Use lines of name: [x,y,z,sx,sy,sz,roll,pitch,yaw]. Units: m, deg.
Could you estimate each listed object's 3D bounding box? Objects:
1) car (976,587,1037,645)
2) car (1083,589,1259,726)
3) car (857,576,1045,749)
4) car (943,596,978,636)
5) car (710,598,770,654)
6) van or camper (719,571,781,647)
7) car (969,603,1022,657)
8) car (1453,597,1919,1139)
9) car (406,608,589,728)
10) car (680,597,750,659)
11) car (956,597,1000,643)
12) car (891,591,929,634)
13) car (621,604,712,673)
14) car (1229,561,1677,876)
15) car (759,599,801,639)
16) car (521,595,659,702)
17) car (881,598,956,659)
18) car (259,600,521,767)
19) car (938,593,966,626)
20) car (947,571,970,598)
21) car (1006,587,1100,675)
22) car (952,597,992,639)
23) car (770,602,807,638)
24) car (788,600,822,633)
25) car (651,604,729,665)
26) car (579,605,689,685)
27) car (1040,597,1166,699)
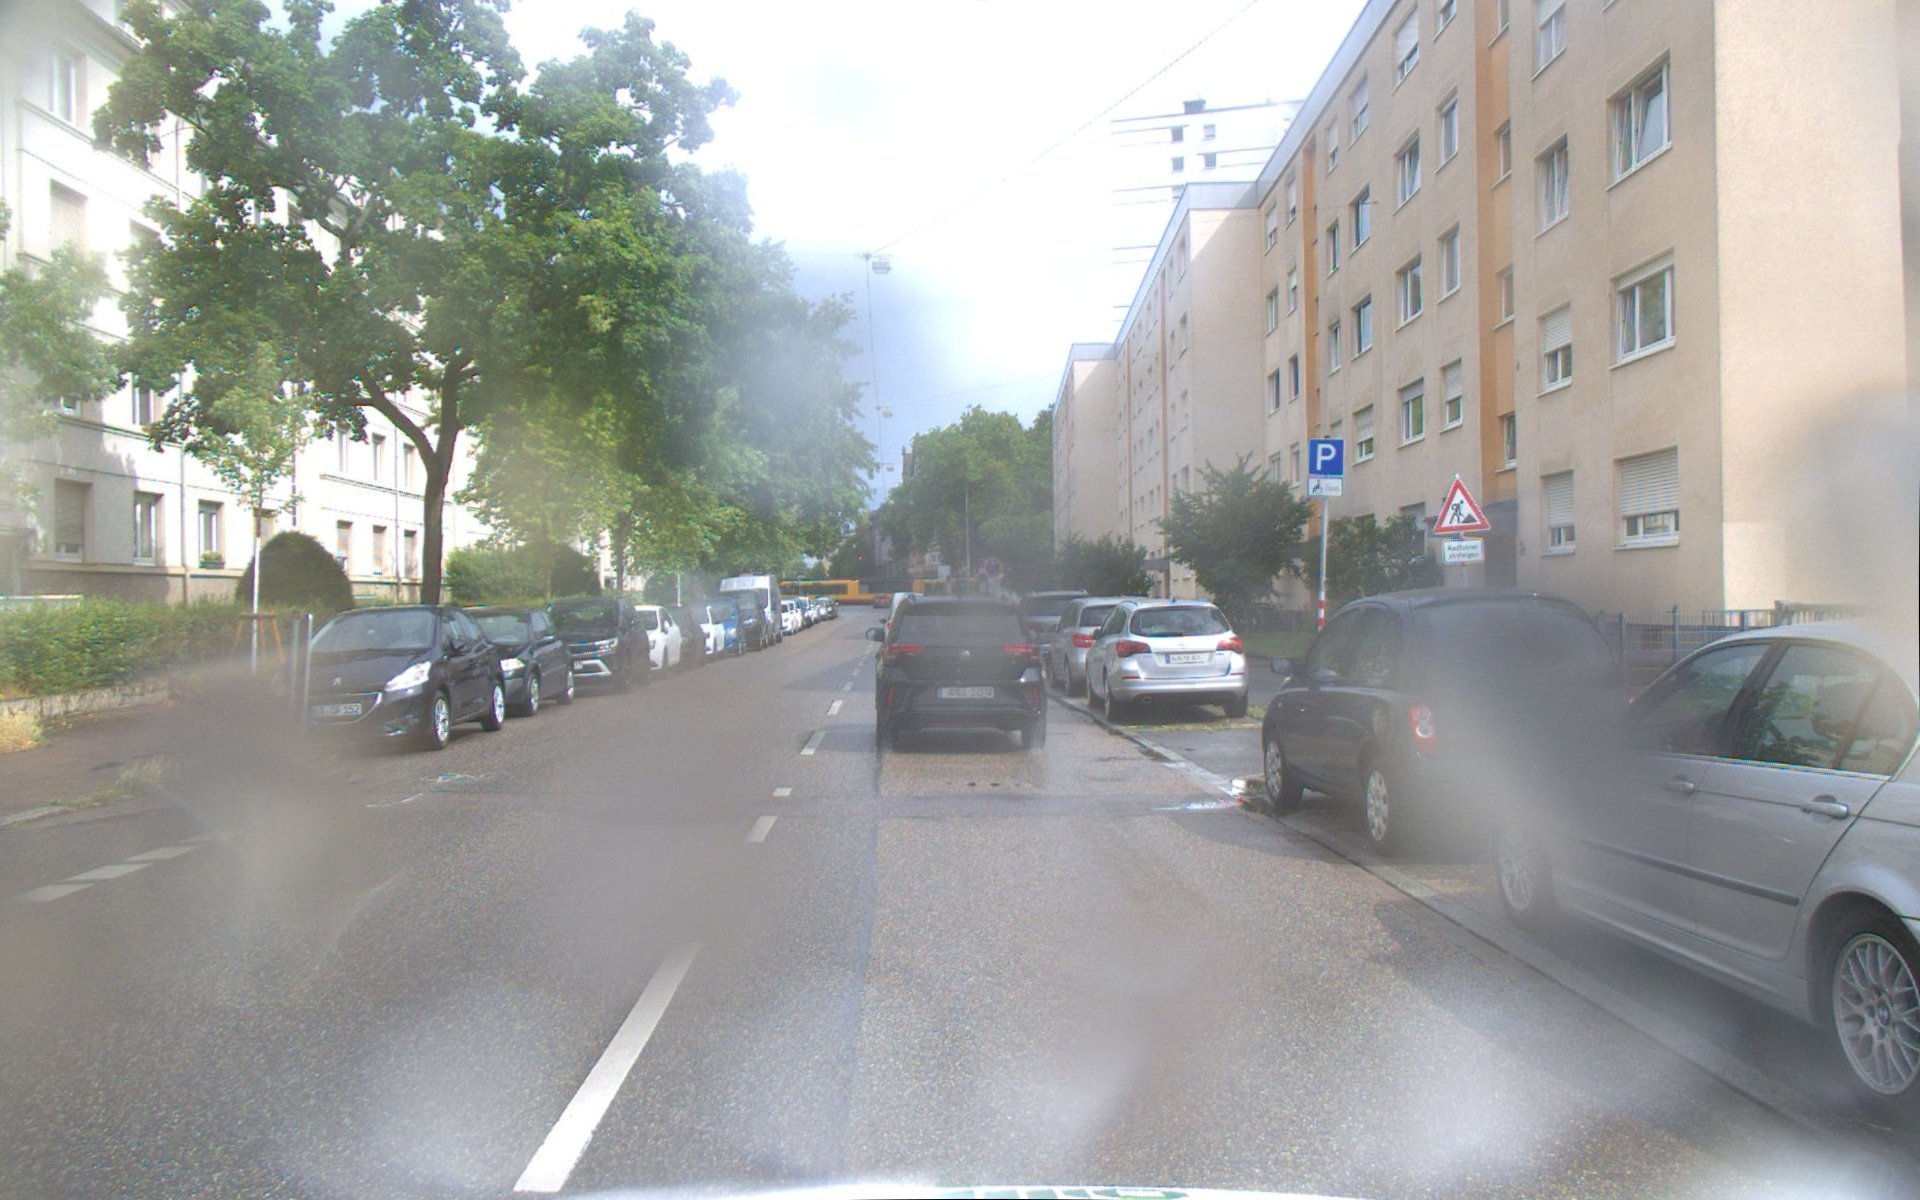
car: [1.392,0.482,50.967,1.572,1.664,4.030,-2,0,-2]
car: [2.653,0.683,21.622,1.661,1.565,4.031,-2,0,-1]
car: [-0.044,0.613,18.319,1.834,1.674,4.062,1,0,1]
car: [-0.009,0.757,81.949,1.632,1.870,3.999,-2,0,-1]
car: [-7.084,0.804,53.464,1.554,1.668,3.918,-2,0,-3]
van or camper: [-7.533,0.309,59.684,1.767,2.537,5.017,-2,0,-3]
car: [1.221,1.028,58.797,1.572,1.796,4.030,-2,0,-2]
car: [3.387,0.743,6.080,1.682,1.478,4.256,1,0,-3]
car: [-6.310,0.868,22.974,1.554,1.442,4.050,-2,0,-3]
car: [-7.012,0.774,47.635,1.554,1.668,3.918,-2,0,-3]
car: [0.720,0.813,68.572,1.572,1.796,4.030,-2,0,-2]
car: [-2.599,0.673,86.174,1.798,2.140,4.000,1,-1,0]
car: [-6.747,0.856,38.370,1.554,1.442,3.918,-2,0,-3]
car: [2.995,0.631,10.943,1.572,1.690,4.030,1,0,-3]
car: [-8.007,0.821,73.771,1.554,1.668,3.918,-2,0,-3]
car: [-6.136,0.757,27.804,1.554,1.603,4.012,-2,0,-3]
car: [-1.075,0.759,44.410,1.776,1.529,4.000,1,-1,1]
car: [-5.964,0.795,17.785,1.554,1.532,4.062,-2,0,-3]
car: [-0.523,0.564,101.107,1.632,1.870,3.999,-2,0,-1]
car: [-0.128,-1.081,119.668,1.632,1.870,3.999,-2,0,-1]
car: [1.929,0.629,35.417,1.572,1.701,4.030,-2,0,-2]
car: [0.518,0.799,75.834,1.572,1.796,4.030,-2,0,-2]
car: [-8.279,0.940,80.078,1.554,1.668,3.918,-2,0,-3]
car: [-8.180,0.856,87.639,1.554,1.668,3.918,-2,0,-3]
car: [-7.024,0.869,43.364,1.554,1.442,3.918,-2,0,-3]
car: [-6.455,0.849,33.088,1.554,1.442,3.918,-2,0,-3]
car: [2.342,0.756,27.938,1.572,1.532,4.030,-2,0,-2]
